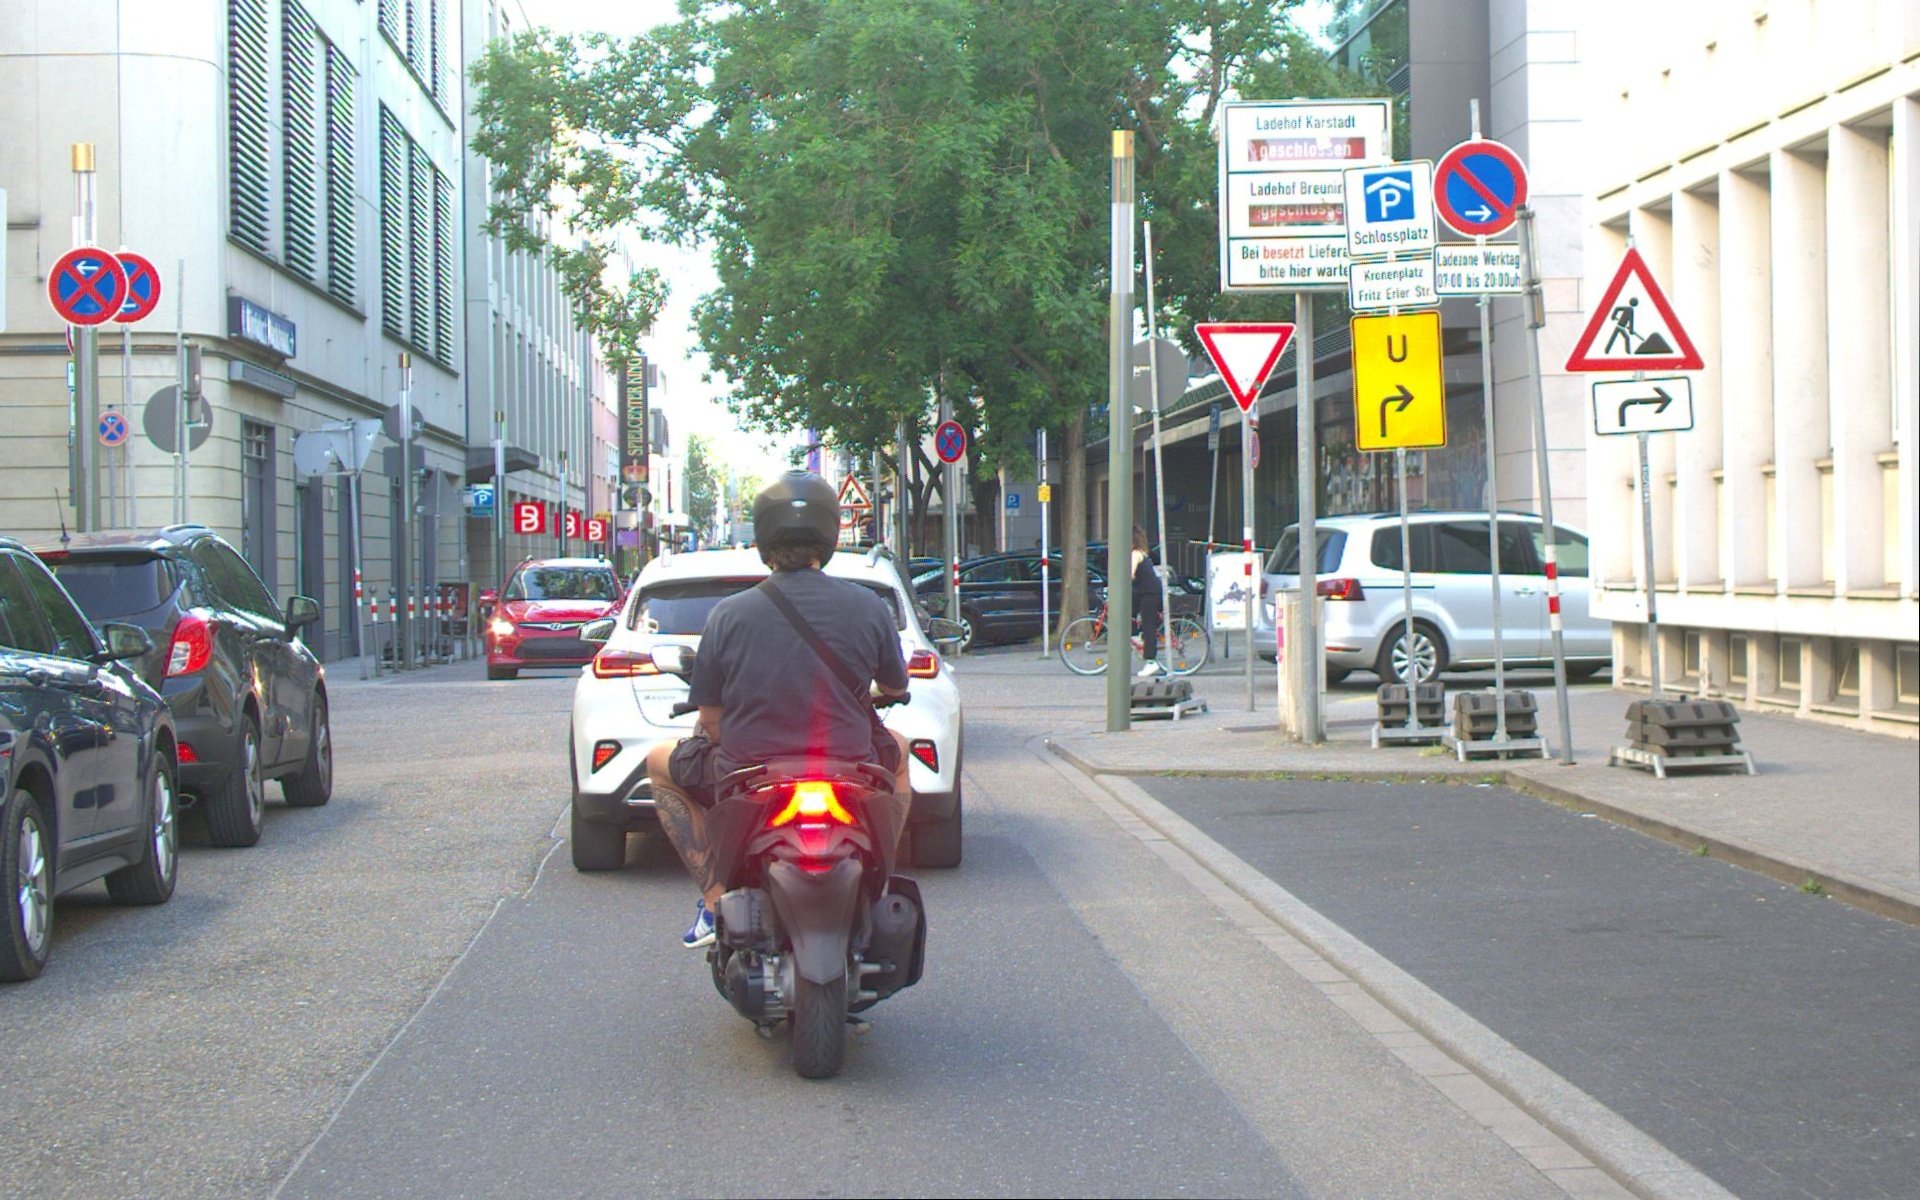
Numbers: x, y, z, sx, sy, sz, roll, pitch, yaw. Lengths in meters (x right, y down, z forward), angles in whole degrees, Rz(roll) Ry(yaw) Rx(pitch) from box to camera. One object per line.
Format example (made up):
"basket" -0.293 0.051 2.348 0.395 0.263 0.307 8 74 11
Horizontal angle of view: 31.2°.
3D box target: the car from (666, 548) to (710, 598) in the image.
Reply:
"car" -12.947 -1.284 163.603 1.993 2.321 5.022 1 1 -5

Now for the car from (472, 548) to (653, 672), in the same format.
"car" -4.915 0.161 43.009 1.822 1.460 4.263 0 -1 -1

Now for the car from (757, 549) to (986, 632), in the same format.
"car" -2.041 -0.213 78.271 5.003 1.494 2.000 -4 0 -5

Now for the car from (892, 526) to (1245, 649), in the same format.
"car" 1.588 -0.183 51.626 5.003 1.447 2.000 -4 0 -5

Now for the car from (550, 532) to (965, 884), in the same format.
"car" -1.034 0.434 17.371 1.822 1.536 4.264 -1 1 -4

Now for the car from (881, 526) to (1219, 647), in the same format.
"car" 1.371 -0.212 53.930 5.003 1.494 2.000 -4 0 -5

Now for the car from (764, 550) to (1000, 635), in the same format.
"car" -1.745 -0.161 75.832 5.003 1.494 2.000 -4 0 -5

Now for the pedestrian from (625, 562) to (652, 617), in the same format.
"pedestrian" -9.202 -0.289 98.341 0.732 1.568 0.636 0 0 -2

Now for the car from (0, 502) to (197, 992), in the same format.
"car" -4.145 0.471 13.088 1.739 1.589 4.155 -3 1 -4

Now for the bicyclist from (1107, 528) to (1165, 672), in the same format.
"bicyclist" 2.002 0.002 39.090 0.630 1.620 0.498 0 0 6

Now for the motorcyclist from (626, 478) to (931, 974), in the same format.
"motorcyclist" -0.527 0.362 10.086 0.867 1.422 0.455 0 0 -2

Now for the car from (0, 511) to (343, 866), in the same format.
"car" -4.586 0.396 18.771 1.822 1.672 4.264 -3 1 -3

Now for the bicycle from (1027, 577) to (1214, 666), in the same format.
"bicycle" 1.829 0.241 39.108 2.102 0.992 0.518 0 0 6

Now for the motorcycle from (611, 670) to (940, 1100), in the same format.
"motorcycle" -0.521 0.779 10.082 0.872 1.105 1.840 0 0 -2

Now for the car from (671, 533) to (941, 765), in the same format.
"car" -1.220 0.300 26.214 1.822 1.536 4.365 -3 1 -4

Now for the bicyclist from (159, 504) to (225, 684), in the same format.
"bicyclist" -7.418 -0.058 33.206 0.550 1.726 0.501 0 0 -20

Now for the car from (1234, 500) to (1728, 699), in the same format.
"car" 5.108 -0.054 33.692 4.479 1.639 1.829 -3 5 -23
